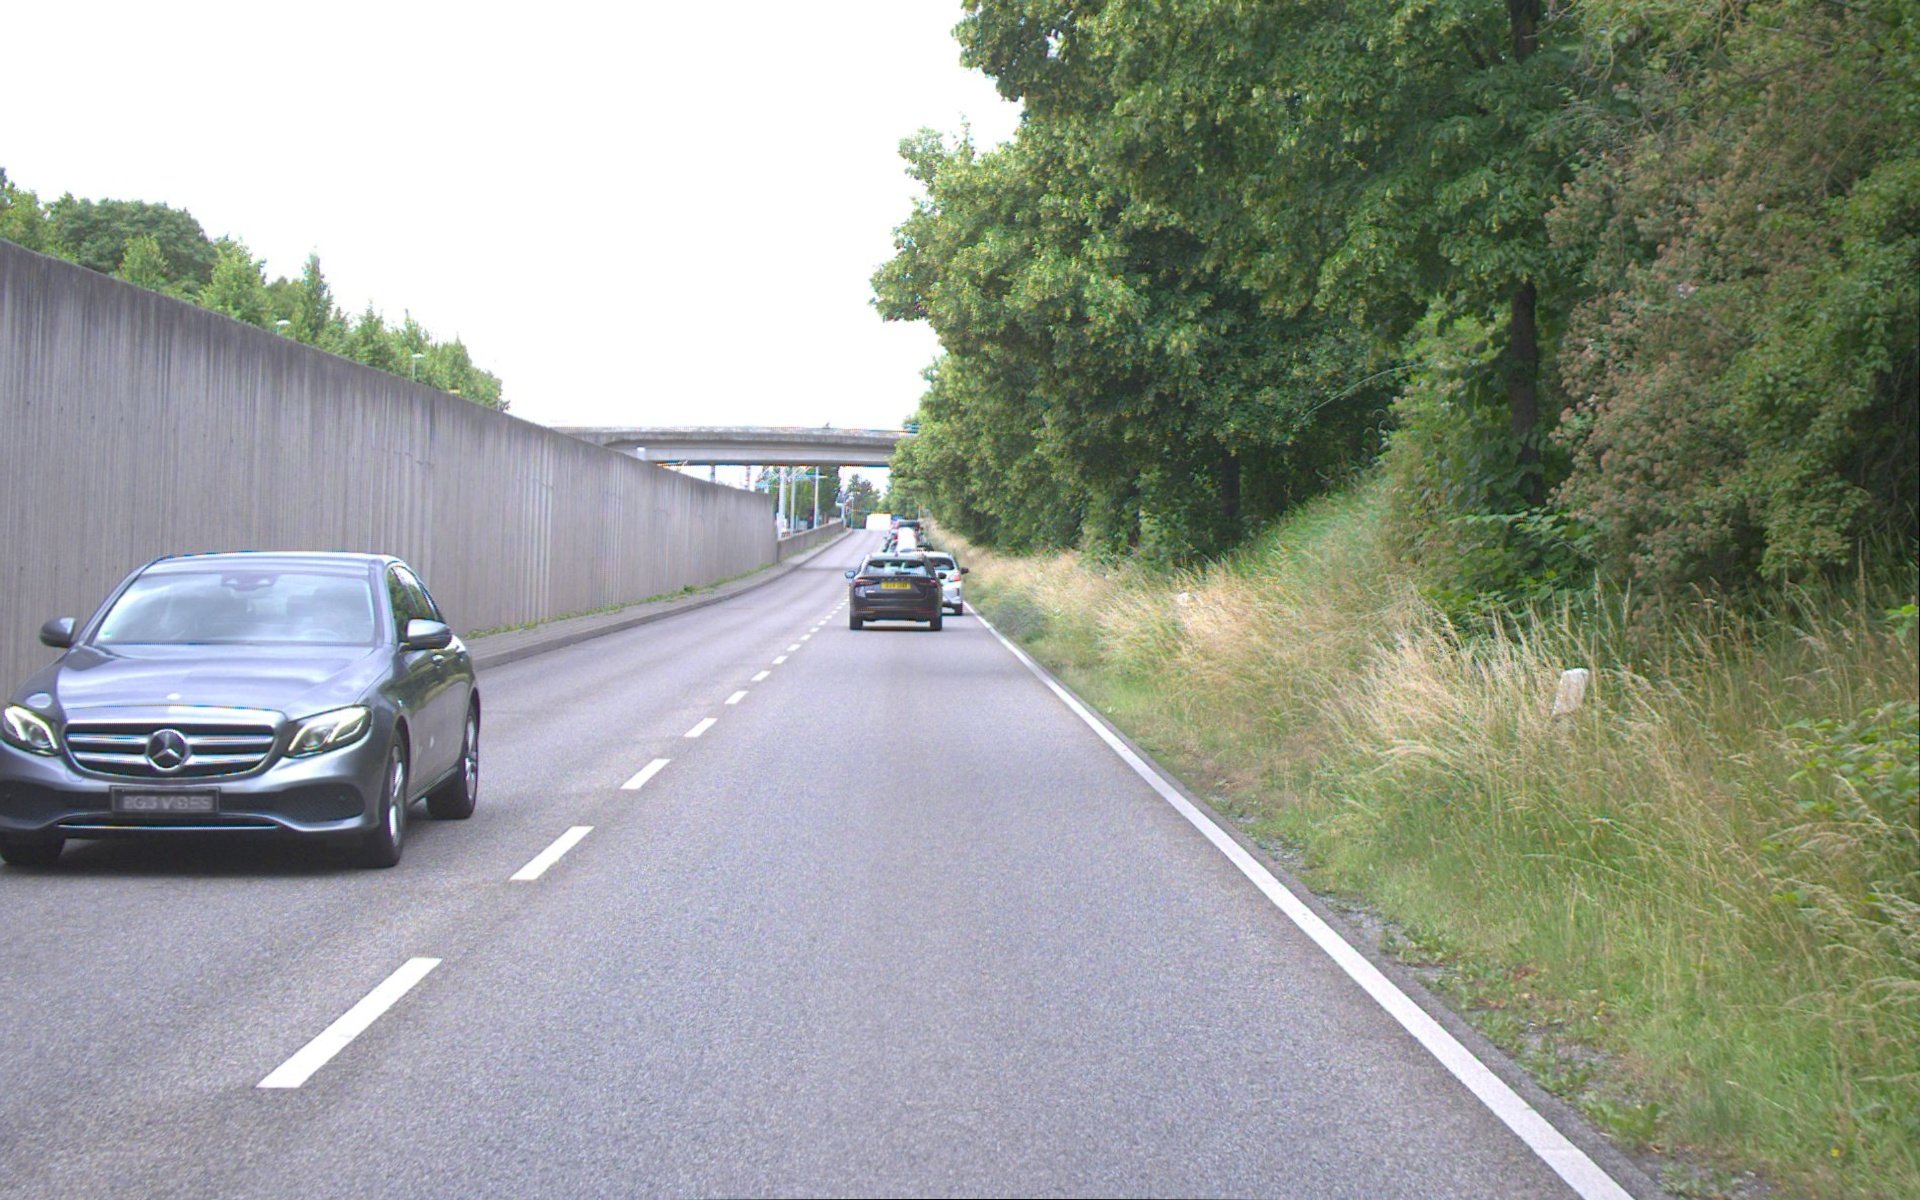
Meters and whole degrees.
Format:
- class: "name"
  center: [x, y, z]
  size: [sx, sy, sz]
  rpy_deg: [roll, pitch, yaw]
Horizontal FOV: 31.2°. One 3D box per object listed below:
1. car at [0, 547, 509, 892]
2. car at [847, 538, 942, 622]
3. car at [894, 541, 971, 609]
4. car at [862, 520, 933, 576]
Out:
- class: "car"
  center: [-3.516, 0.484, 17.353]
  size: [1.892, 1.478, 4.823]
  rpy_deg: [0, 1, -1]
- class: "car"
  center: [-1.247, -0.362, 65.831]
  size: [1.754, 1.518, 4.036]
  rpy_deg: [0, -1, -1]
- class: "car"
  center: [-0.649, -0.568, 81.550]
  size: [1.754, 1.518, 4.036]
  rpy_deg: [-1, 0, 0]
- class: "car"
  center: [-1.833, -1.502, 100.236]
  size: [1.866, 1.485, 4.257]
  rpy_deg: [4, 1, -3]
